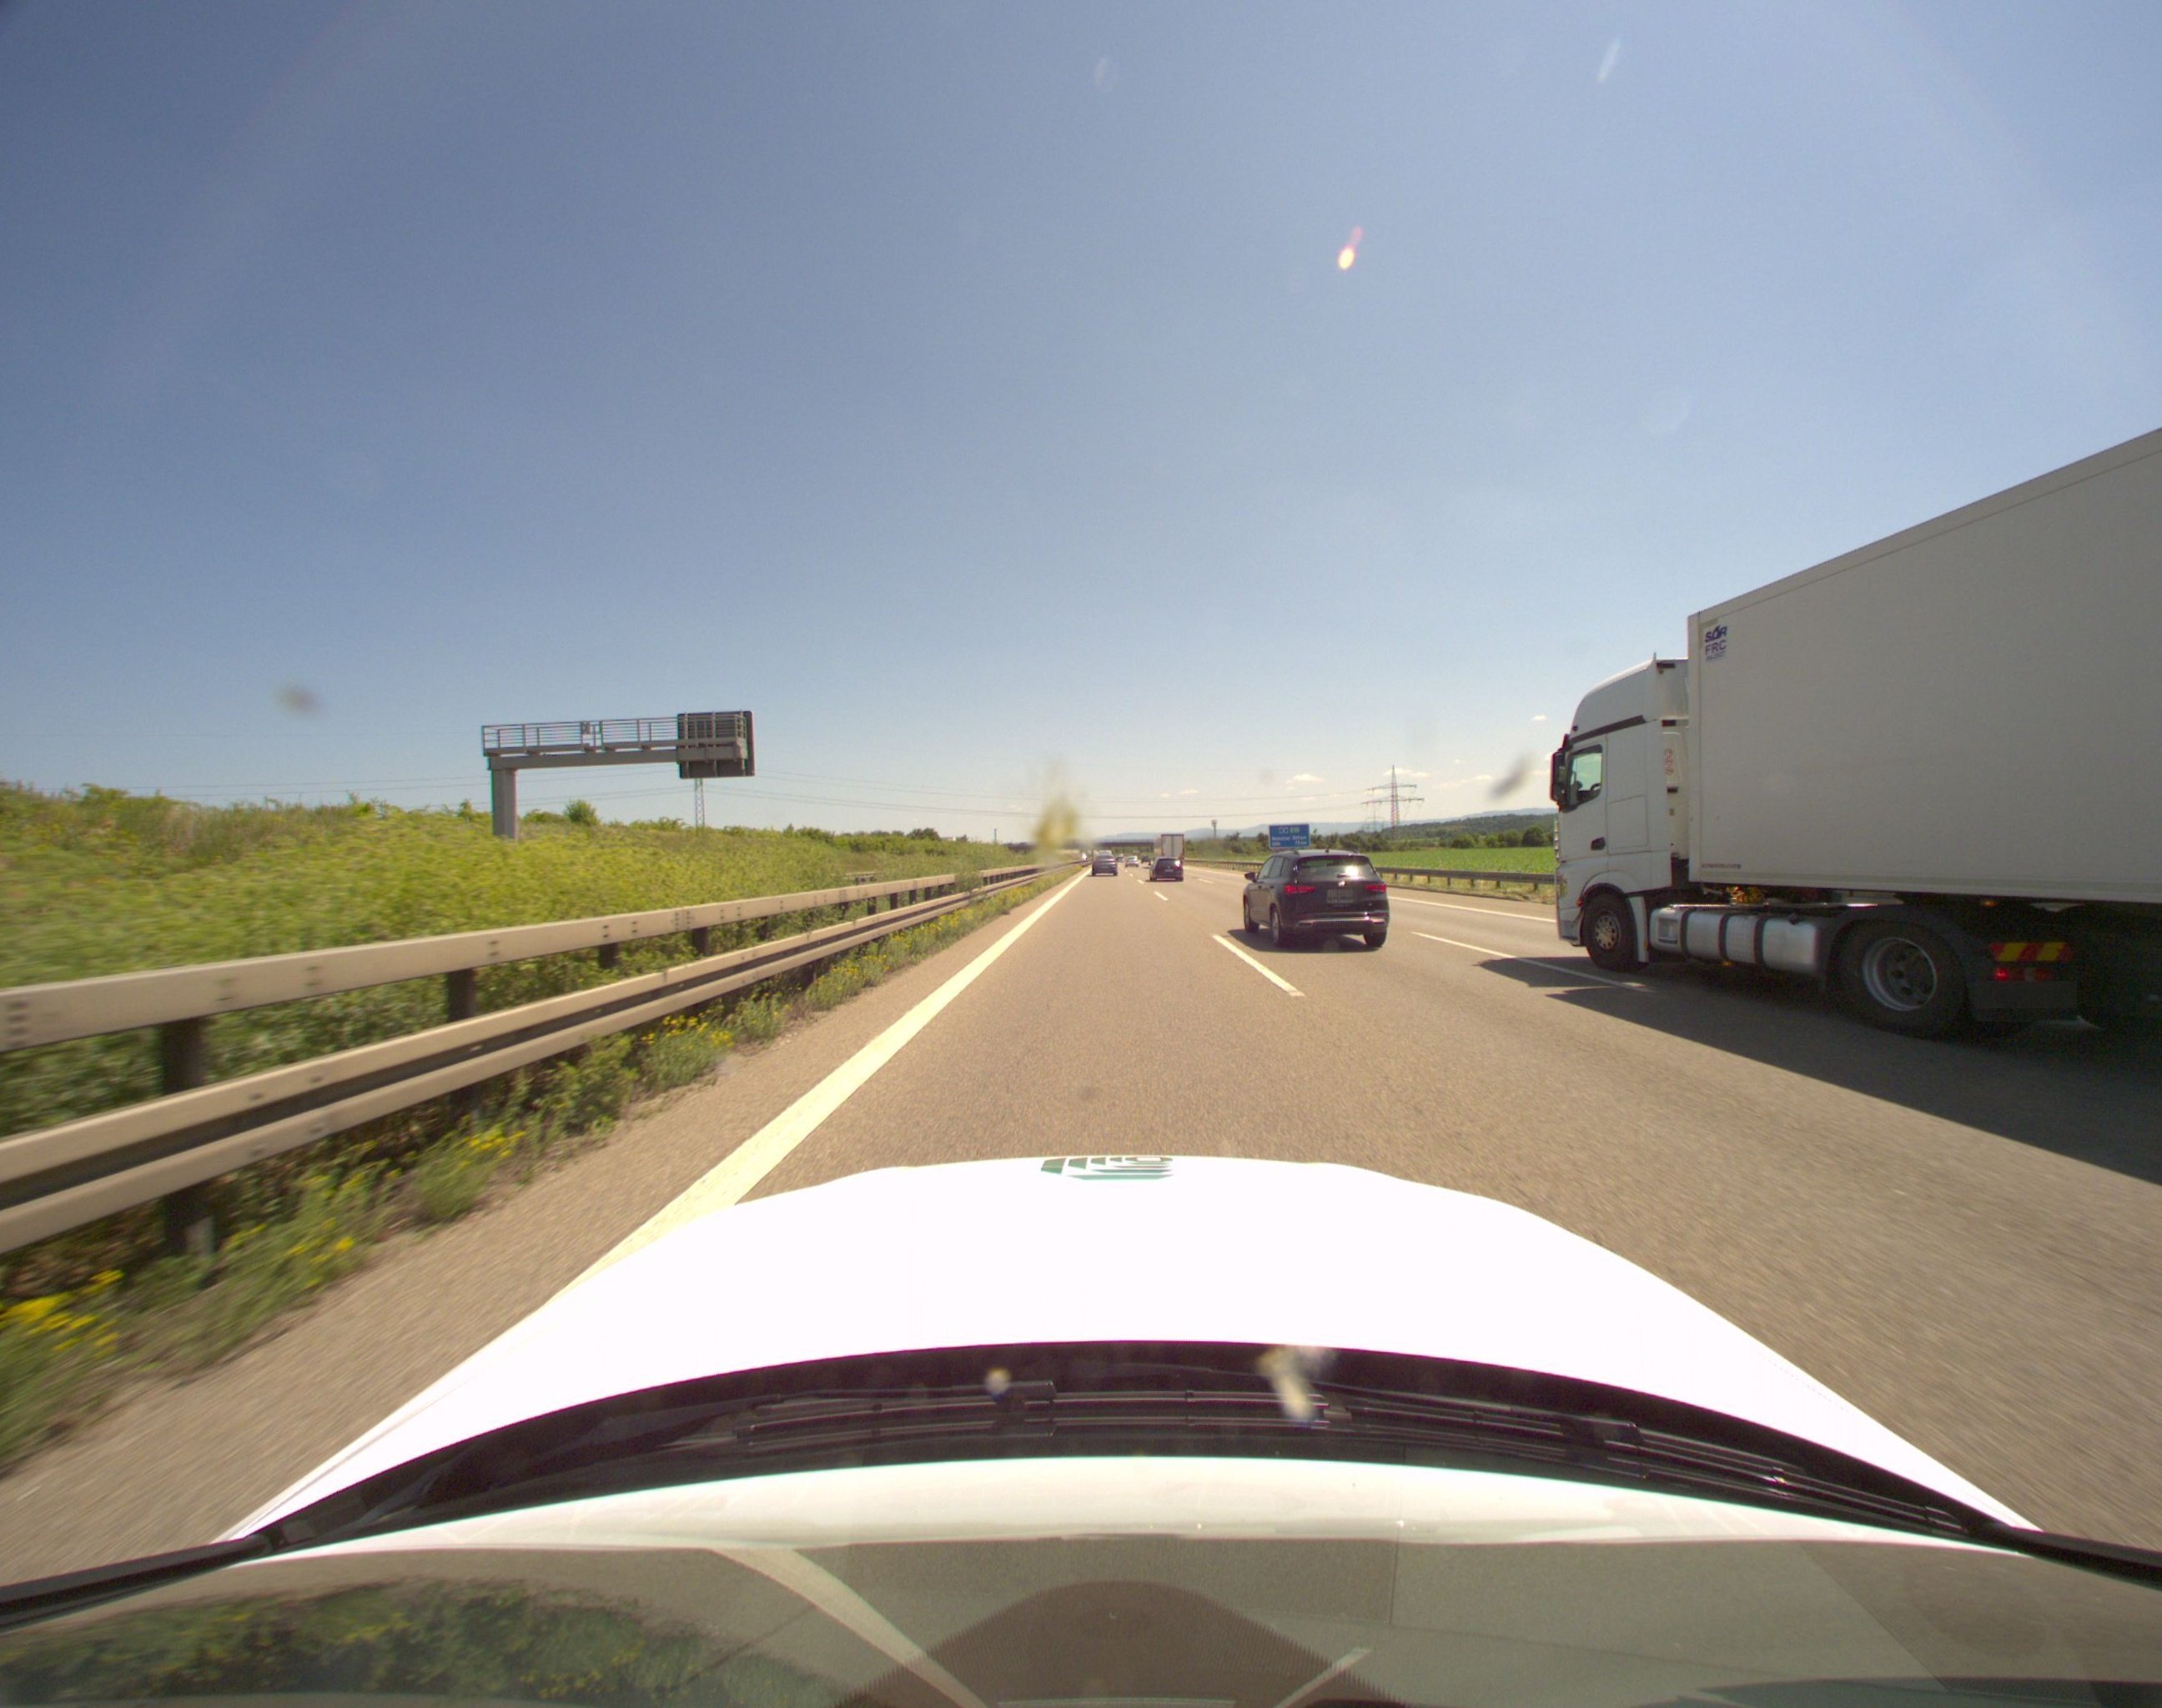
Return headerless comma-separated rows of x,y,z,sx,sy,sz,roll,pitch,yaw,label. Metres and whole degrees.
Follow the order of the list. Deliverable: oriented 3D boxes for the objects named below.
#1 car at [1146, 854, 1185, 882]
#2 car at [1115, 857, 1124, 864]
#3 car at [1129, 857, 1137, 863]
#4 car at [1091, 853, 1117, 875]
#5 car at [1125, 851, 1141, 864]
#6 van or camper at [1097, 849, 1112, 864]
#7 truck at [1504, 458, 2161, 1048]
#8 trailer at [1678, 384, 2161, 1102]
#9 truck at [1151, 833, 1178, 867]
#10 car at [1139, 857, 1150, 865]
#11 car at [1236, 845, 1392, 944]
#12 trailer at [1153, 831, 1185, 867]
5.033,0.799,48.939,1.926,1.574,4.936,0,0,1,car
9.332,1.609,198.315,1.986,1.683,4.002,0,0,2,car
14.369,1.737,225.699,1.986,1.683,4.002,0,0,2,car
1.728,0.783,63.100,1.846,1.664,3.733,0,0,-1,car
7.054,0.501,111.196,1.986,1.683,4.002,0,0,2,car
3.487,0.397,118.571,2.102,2.211,5.268,0,0,2,van or camper
7.901,-0.695,9.086,2.852,4.091,6.880,0,0,1,truck
7.713,-0.671,2.097,2.857,4.220,13.297,0,0,1,trailer
10.962,-0.499,107.326,2.968,4.228,7.690,0,0,2,truck
12.817,1.374,164.037,1.986,1.683,4.002,0,0,2,car
4.045,0.655,14.790,1.790,1.562,3.824,0,0,1,car
10.712,-0.524,100.025,2.932,4.198,13.602,0,0,2,trailer
